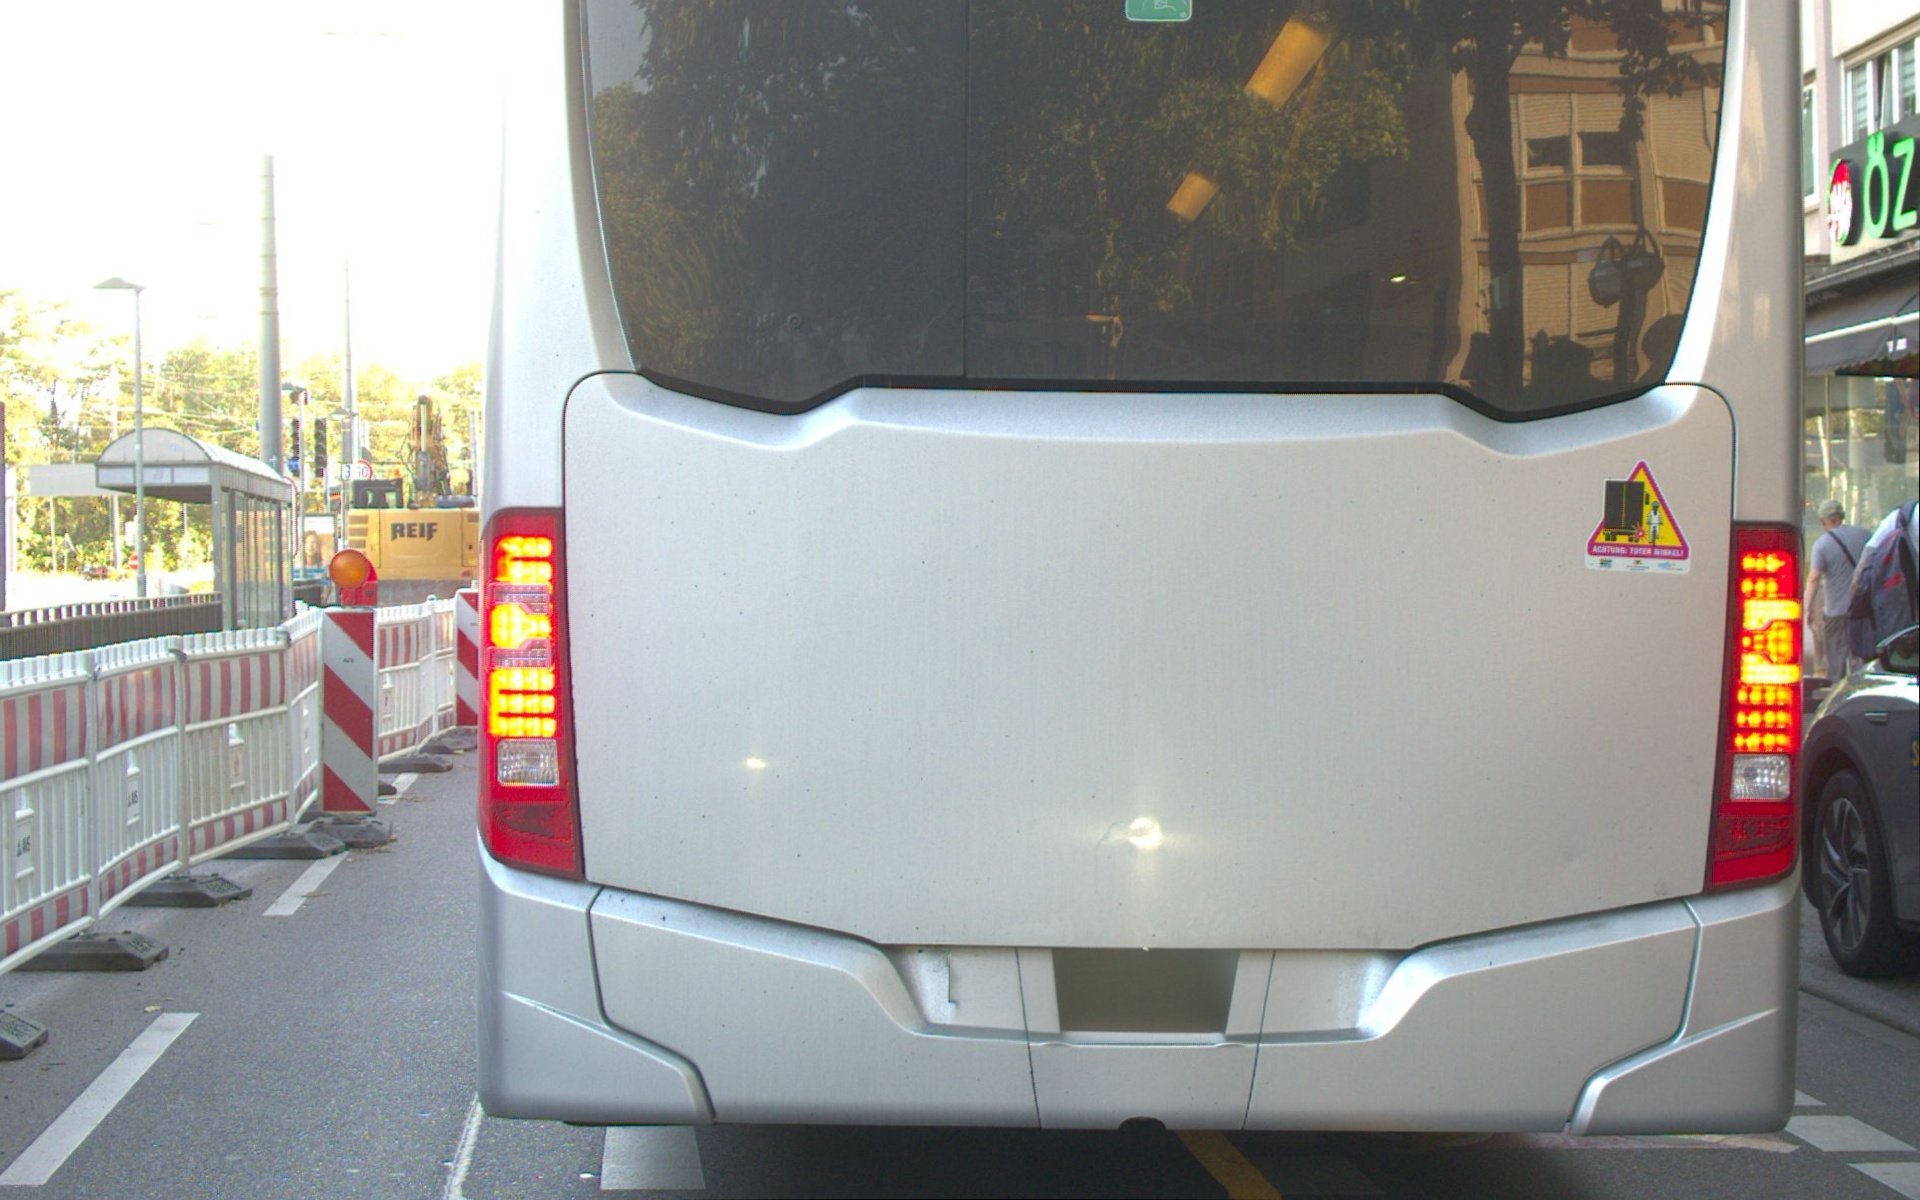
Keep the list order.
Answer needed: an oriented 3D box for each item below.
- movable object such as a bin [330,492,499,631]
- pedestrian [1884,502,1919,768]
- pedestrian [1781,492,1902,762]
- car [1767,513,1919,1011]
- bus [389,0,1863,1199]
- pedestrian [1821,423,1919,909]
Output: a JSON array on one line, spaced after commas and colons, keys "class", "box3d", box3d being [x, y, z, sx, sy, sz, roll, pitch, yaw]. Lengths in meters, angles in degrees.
[{"class": "movable object such as a bin", "box3d": [-10.047, -0.716, 63.663, 2.806, 2.453, 4.001, -1, 1, -5]}, {"class": "pedestrian", "box3d": [7.485, 0.255, 26.321, 0.612, 2.007, 0.696, -1, 0, 0]}, {"class": "pedestrian", "box3d": [6.671, 0.197, 26.046, 0.690, 2.007, 0.696, -1, 0, -3]}, {"class": "car", "box3d": [3.998, 0.494, 10.296, 1.739, 1.592, 4.300, -3, 1, -5]}, {"class": "bus", "box3d": [0.269, -0.284, 11.240, 2.608, 3.159, 10.292, 0, 1, 0]}, {"class": "pedestrian", "box3d": [4.111, 0.264, 14.503, 0.770, 2.007, 0.713, -2, 1, 21]}]
